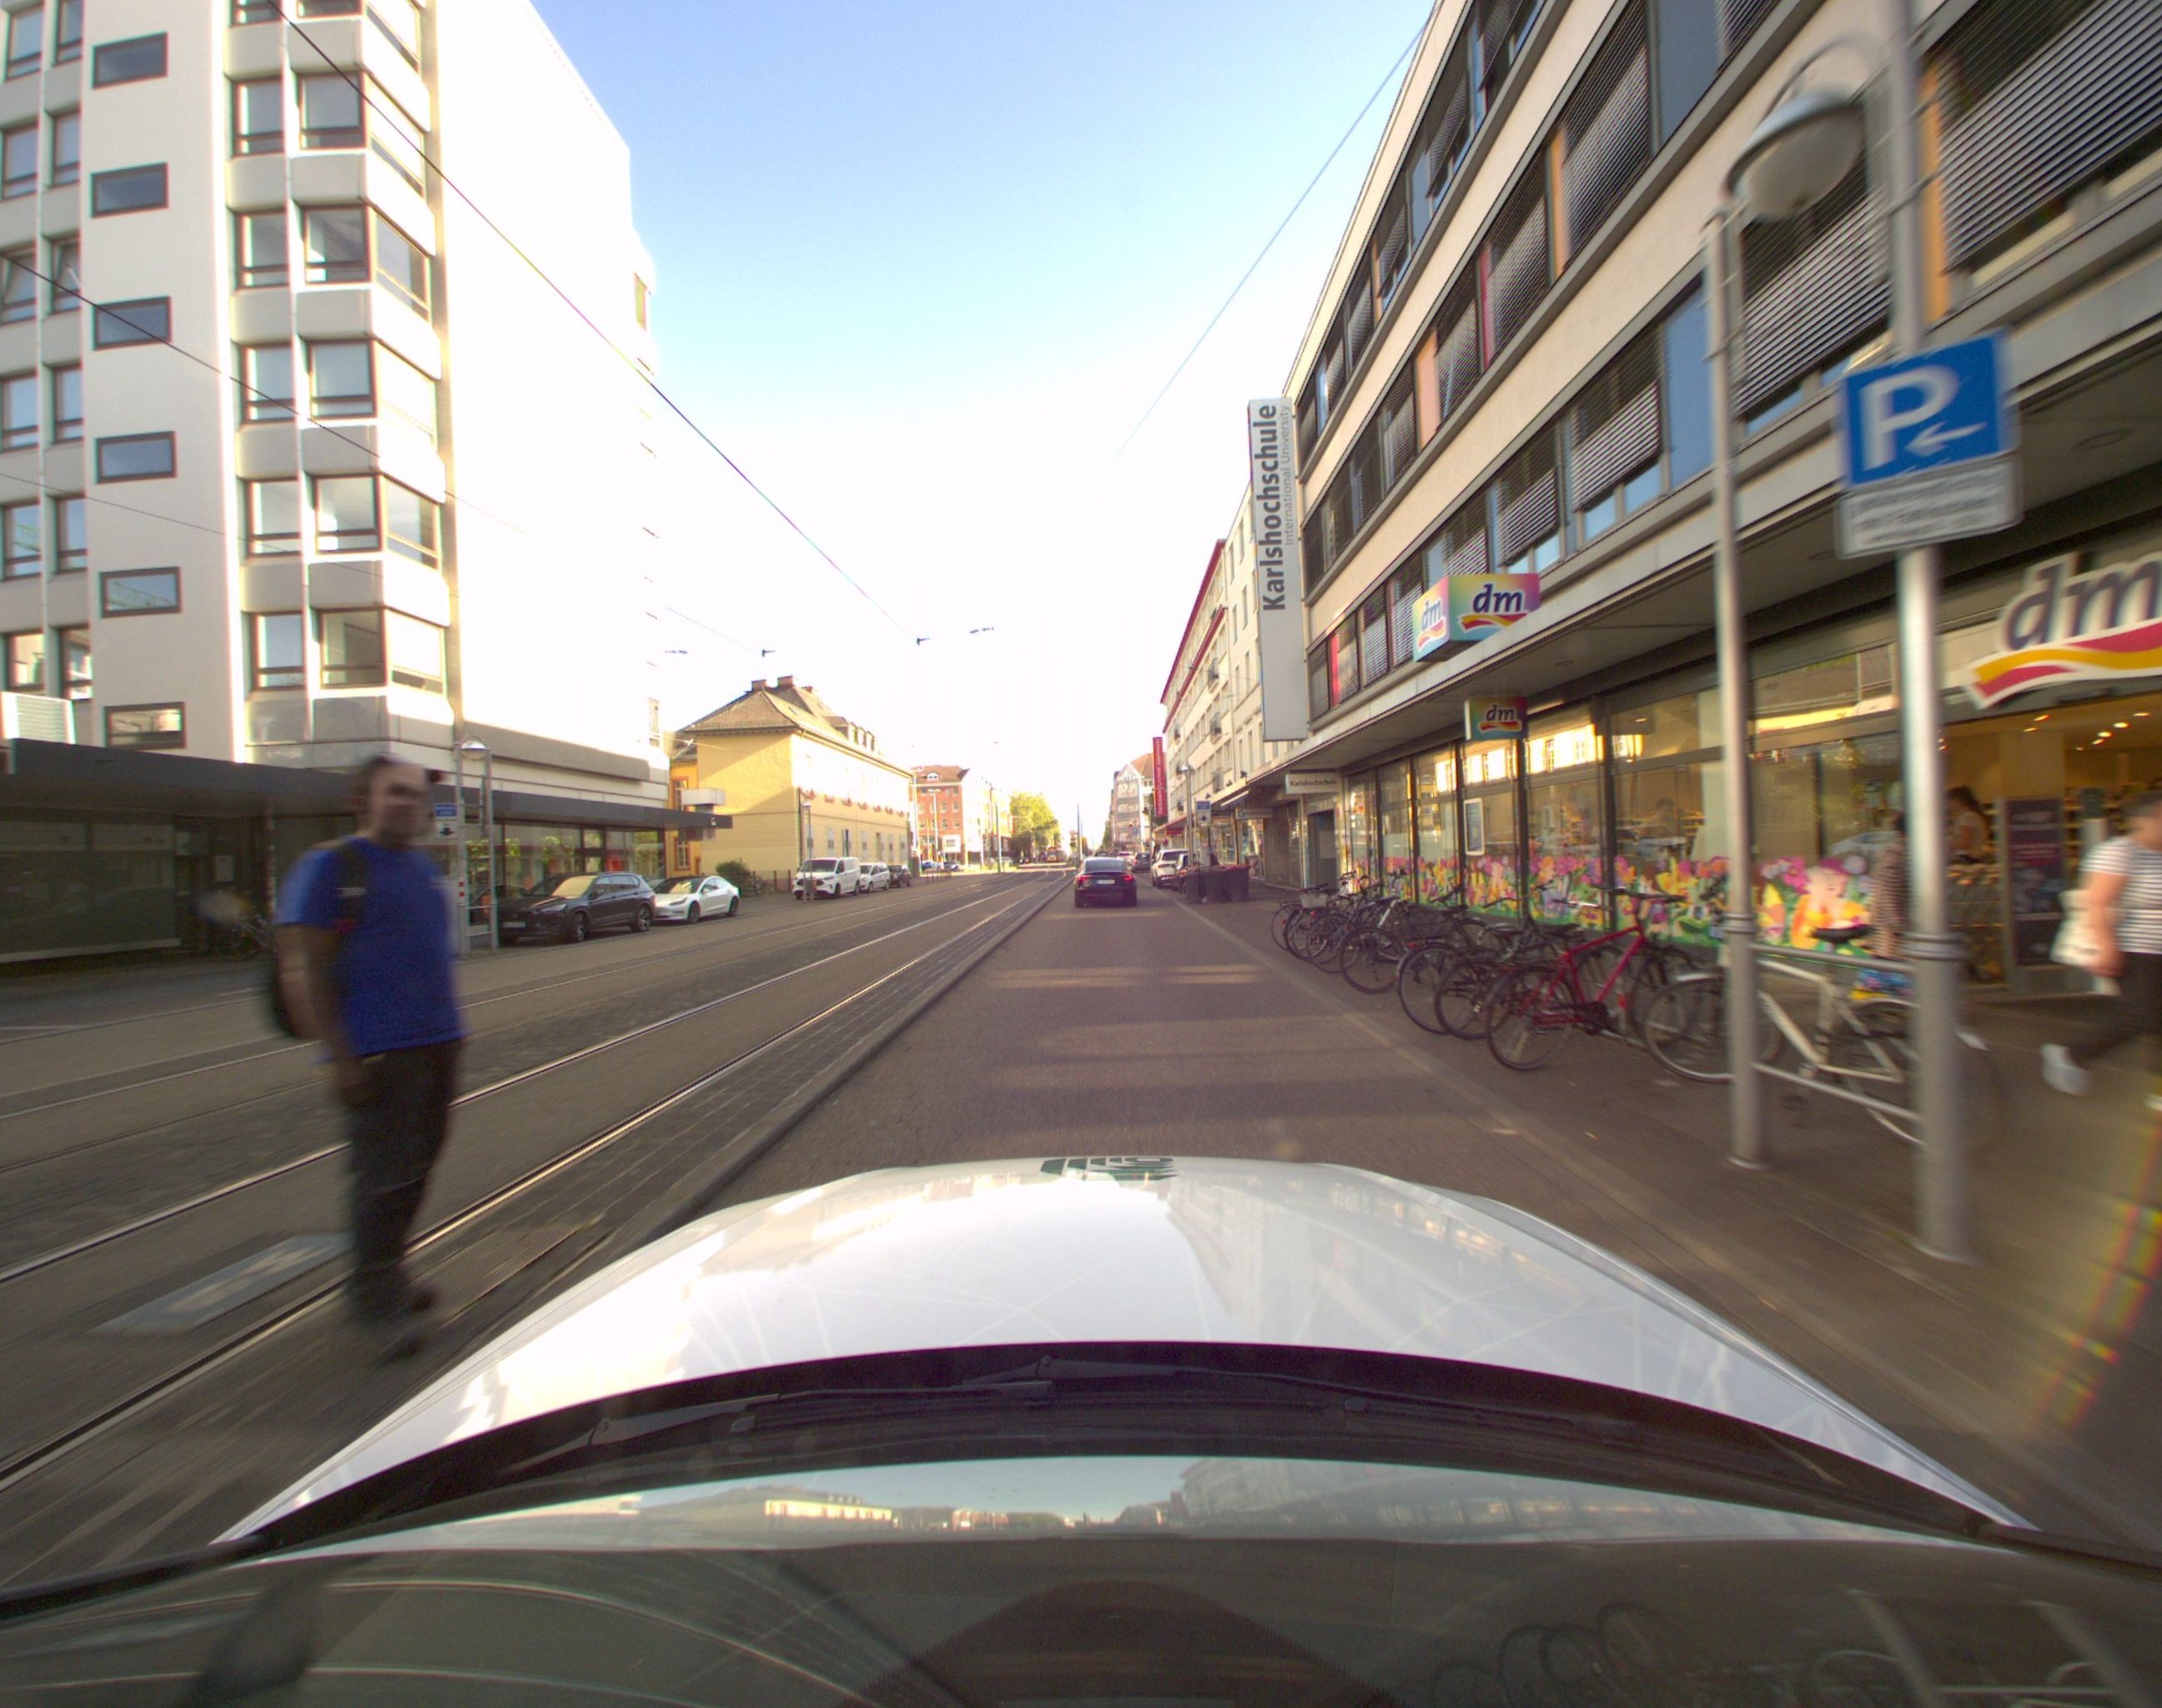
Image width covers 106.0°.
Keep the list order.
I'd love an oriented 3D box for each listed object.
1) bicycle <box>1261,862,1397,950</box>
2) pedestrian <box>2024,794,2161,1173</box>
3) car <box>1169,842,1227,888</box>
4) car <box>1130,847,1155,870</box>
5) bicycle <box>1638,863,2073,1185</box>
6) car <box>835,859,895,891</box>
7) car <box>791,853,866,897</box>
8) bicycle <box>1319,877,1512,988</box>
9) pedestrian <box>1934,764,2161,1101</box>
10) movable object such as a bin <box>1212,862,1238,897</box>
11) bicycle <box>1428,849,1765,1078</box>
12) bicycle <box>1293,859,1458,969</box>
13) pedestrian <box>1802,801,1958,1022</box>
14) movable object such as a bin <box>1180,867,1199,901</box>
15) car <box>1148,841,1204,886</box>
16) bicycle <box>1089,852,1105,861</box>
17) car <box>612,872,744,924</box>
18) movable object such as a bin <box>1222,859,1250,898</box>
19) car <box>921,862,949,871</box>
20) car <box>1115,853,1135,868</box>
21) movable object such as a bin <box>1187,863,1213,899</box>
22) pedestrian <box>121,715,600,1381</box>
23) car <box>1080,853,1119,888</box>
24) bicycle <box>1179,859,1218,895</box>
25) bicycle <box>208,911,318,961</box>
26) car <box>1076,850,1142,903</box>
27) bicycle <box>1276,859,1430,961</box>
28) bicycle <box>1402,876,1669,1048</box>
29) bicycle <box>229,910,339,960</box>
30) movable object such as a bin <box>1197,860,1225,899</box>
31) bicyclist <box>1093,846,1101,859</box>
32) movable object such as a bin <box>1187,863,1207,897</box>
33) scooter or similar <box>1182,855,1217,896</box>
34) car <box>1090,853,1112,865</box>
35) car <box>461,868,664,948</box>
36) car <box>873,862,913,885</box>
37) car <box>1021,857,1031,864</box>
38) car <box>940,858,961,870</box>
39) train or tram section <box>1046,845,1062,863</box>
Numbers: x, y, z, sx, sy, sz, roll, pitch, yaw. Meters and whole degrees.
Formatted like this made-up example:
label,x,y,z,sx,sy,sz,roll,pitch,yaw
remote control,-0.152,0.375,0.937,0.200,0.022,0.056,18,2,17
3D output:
label,x,y,z,sx,sy,sz,roll,pitch,yaw
bicycle,3.679,0.760,12.178,1.781,1.159,0.669,-3,0,0
pedestrian,4.498,0.501,3.316,0.522,1.493,0.583,-4,0,0
car,4.353,0.387,30.878,1.608,1.528,4.071,-3,0,1
car,4.819,0.329,63.846,1.738,1.632,3.650,-4,0,2
bicycle,3.709,0.699,4.124,0.579,1.257,1.601,-4,0,0
car,-11.981,1.108,45.498,1.800,1.685,4.653,0,0,4
car,-12.169,0.962,39.595,1.986,1.975,5.097,0,0,1
bicycle,3.538,0.817,8.695,1.767,1.032,0.597,-3,0,0
pedestrian,5.075,0.372,4.211,0.579,1.585,0.597,-4,0,-1
movable object such as a bin,4.345,0.758,24.625,0.655,1.014,0.637,-3,0,4
bicycle,3.513,0.696,5.578,2.035,1.274,0.523,-5,0,-9
bicycle,3.609,0.726,10.061,1.781,1.217,0.587,-3,0,0
pedestrian,5.812,0.391,5.932,0.585,1.486,0.591,-4,-1,-30
movable object such as a bin,3.213,0.873,24.074,0.485,0.958,0.458,-3,-1,4
car,4.092,0.385,35.993,1.843,1.724,5.193,-4,0,1
bicycle,1.803,0.280,92.626,1.726,1.088,0.676,0,0,-7
car,-12.677,1.329,26.003,1.882,1.421,4.656,0,0,0
movable object such as a bin,4.542,0.723,23.917,0.687,1.089,0.666,-3,-1,4
car,-22.625,1.948,126.108,1.974,1.420,4.025,-1,0,36
car,4.616,0.654,86.210,1.778,1.519,4.215,0,0,-2
movable object such as a bin,3.604,0.812,24.665,0.683,1.014,0.508,-3,0,4
pedestrian,-2.271,0.546,2.689,0.801,1.837,0.746,-4,0,0
car,0.850,0.697,36.632,1.647,1.418,4.002,-1,1,2
bicycle,3.818,0.757,26.499,1.127,1.079,0.320,-4,-1,-1
bicycle,-16.815,1.683,16.749,1.929,0.999,0.381,0,-1,2
car,0.810,0.645,25.083,1.843,1.484,3.787,-1,0,0
bicycle,3.614,0.733,10.913,1.781,1.217,0.669,-3,0,0
bicycle,3.439,0.790,6.216,1.770,1.130,0.478,-3,0,-5
bicycle,-16.794,1.699,17.173,1.929,0.999,0.424,0,-1,2
movable object such as a bin,3.819,0.753,23.962,0.687,1.089,0.686,-3,-1,4
bicyclist,1.822,-0.183,92.651,0.835,1.500,0.559,0,-1,-7
movable object such as a bin,3.604,0.798,25.364,0.520,1.014,0.671,-3,0,4
scooter or similar,3.783,0.673,26.019,0.989,1.231,0.320,-4,-1,-1
car,2.511,0.638,102.515,1.825,1.519,4.202,0,0,-11
car,-12.690,1.239,20.371,1.971,1.678,4.657,0,0,2
car,-11.760,1.206,51.195,1.608,1.400,3.720,0,0,1
car,-12.074,1.409,177.486,1.744,1.651,4.002,0,0,2
car,-16.444,1.304,102.731,1.895,1.464,4.003,0,0,3
train or tram section,-6.061,0.031,184.271,2.664,3.715,14.199,-1,0,2
